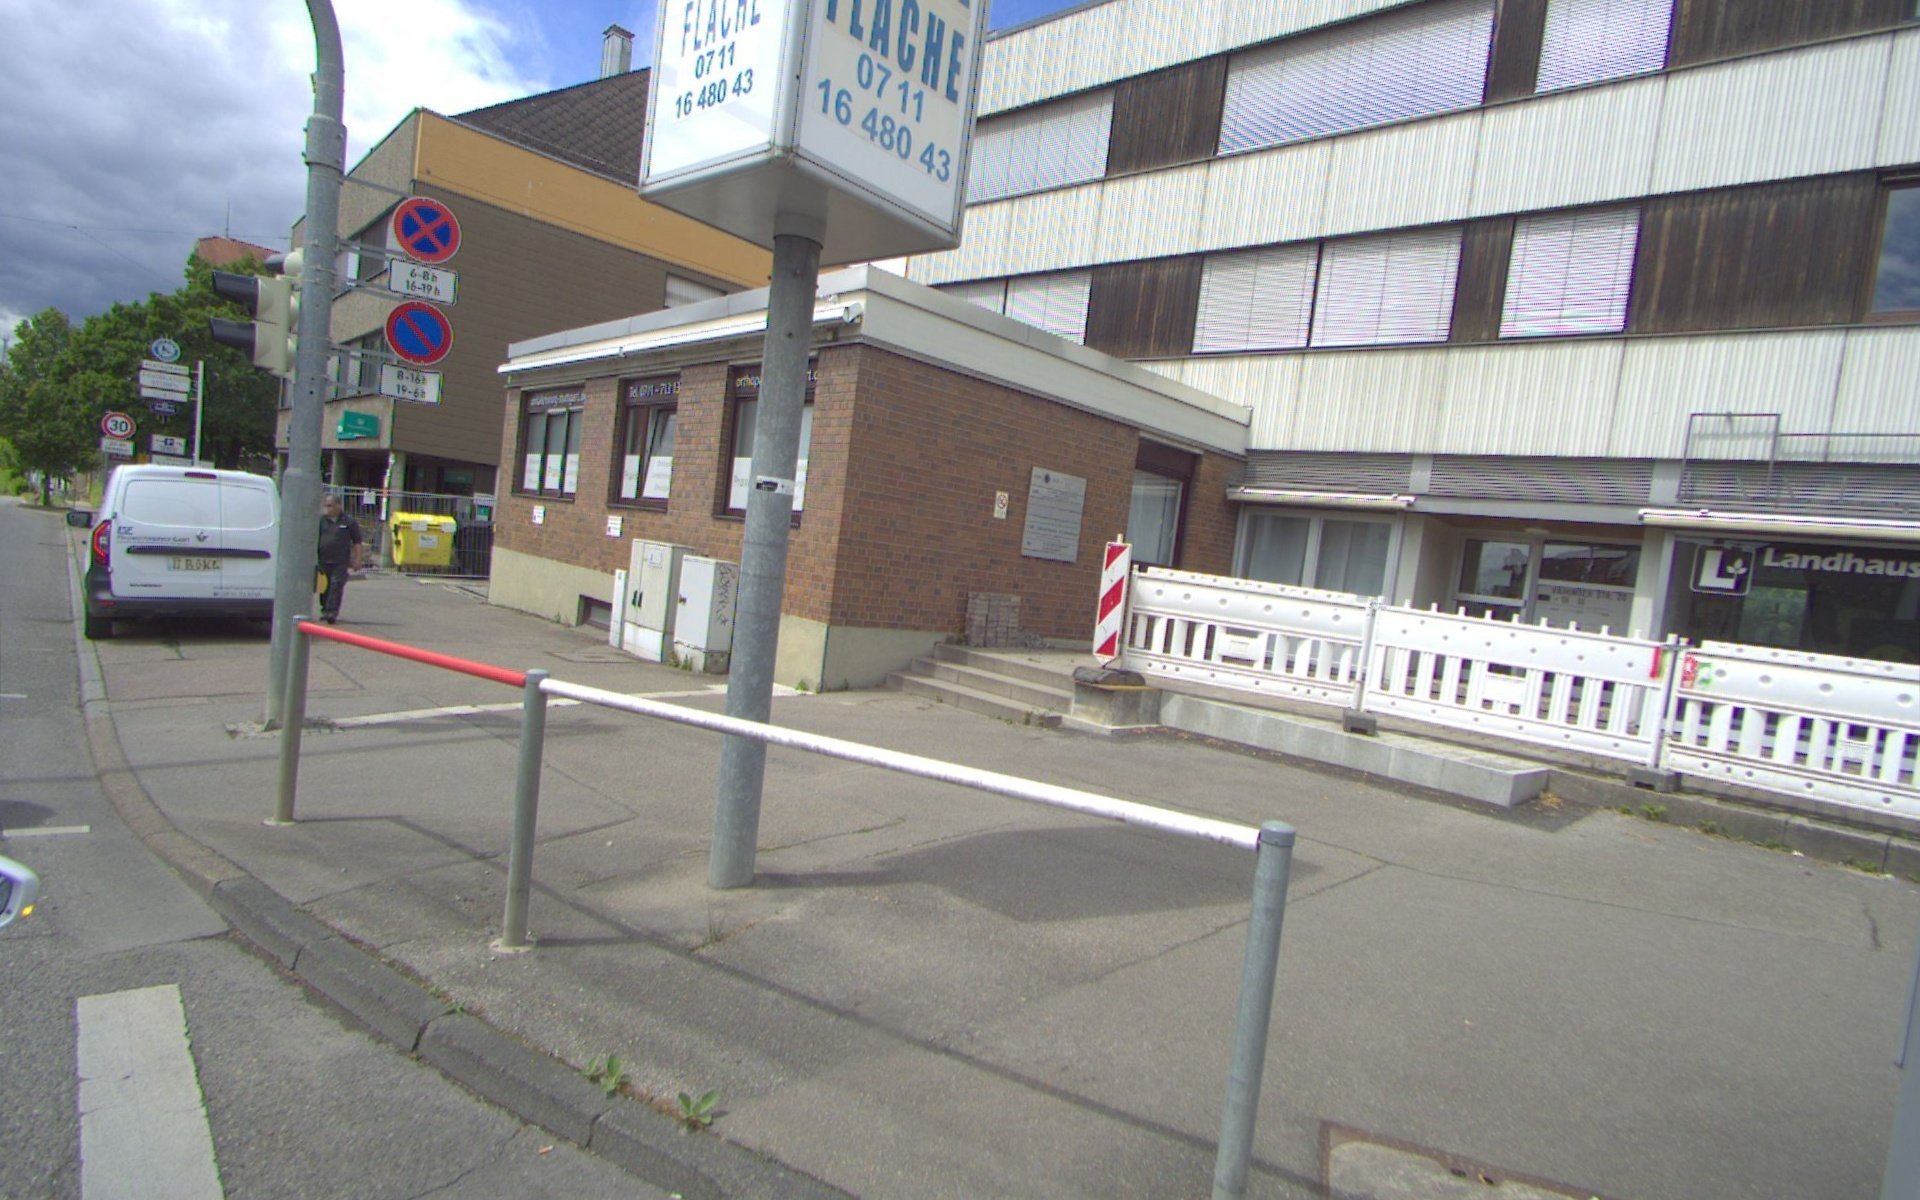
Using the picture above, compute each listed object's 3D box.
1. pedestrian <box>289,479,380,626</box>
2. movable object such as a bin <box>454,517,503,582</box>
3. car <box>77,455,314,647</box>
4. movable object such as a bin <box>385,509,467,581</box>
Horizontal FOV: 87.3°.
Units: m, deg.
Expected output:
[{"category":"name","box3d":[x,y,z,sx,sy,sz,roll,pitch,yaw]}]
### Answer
[{"category":"pedestrian","box3d":[-8.196,-0.615,13.189,0.839,1.828,0.643,2,4,-43]},{"category":"movable object such as a bin","box3d":[-11.963,-1.263,24.986,0.776,1.460,1.006,4,5,-39]},{"category":"car","box3d":[-9.125,-0.641,11.861,1.900,1.820,4.437,0,5,-41]},{"category":"movable object such as a bin","box3d":[-12.894,-1.330,24.297,1.475,1.513,1.063,4,5,-40]}]
